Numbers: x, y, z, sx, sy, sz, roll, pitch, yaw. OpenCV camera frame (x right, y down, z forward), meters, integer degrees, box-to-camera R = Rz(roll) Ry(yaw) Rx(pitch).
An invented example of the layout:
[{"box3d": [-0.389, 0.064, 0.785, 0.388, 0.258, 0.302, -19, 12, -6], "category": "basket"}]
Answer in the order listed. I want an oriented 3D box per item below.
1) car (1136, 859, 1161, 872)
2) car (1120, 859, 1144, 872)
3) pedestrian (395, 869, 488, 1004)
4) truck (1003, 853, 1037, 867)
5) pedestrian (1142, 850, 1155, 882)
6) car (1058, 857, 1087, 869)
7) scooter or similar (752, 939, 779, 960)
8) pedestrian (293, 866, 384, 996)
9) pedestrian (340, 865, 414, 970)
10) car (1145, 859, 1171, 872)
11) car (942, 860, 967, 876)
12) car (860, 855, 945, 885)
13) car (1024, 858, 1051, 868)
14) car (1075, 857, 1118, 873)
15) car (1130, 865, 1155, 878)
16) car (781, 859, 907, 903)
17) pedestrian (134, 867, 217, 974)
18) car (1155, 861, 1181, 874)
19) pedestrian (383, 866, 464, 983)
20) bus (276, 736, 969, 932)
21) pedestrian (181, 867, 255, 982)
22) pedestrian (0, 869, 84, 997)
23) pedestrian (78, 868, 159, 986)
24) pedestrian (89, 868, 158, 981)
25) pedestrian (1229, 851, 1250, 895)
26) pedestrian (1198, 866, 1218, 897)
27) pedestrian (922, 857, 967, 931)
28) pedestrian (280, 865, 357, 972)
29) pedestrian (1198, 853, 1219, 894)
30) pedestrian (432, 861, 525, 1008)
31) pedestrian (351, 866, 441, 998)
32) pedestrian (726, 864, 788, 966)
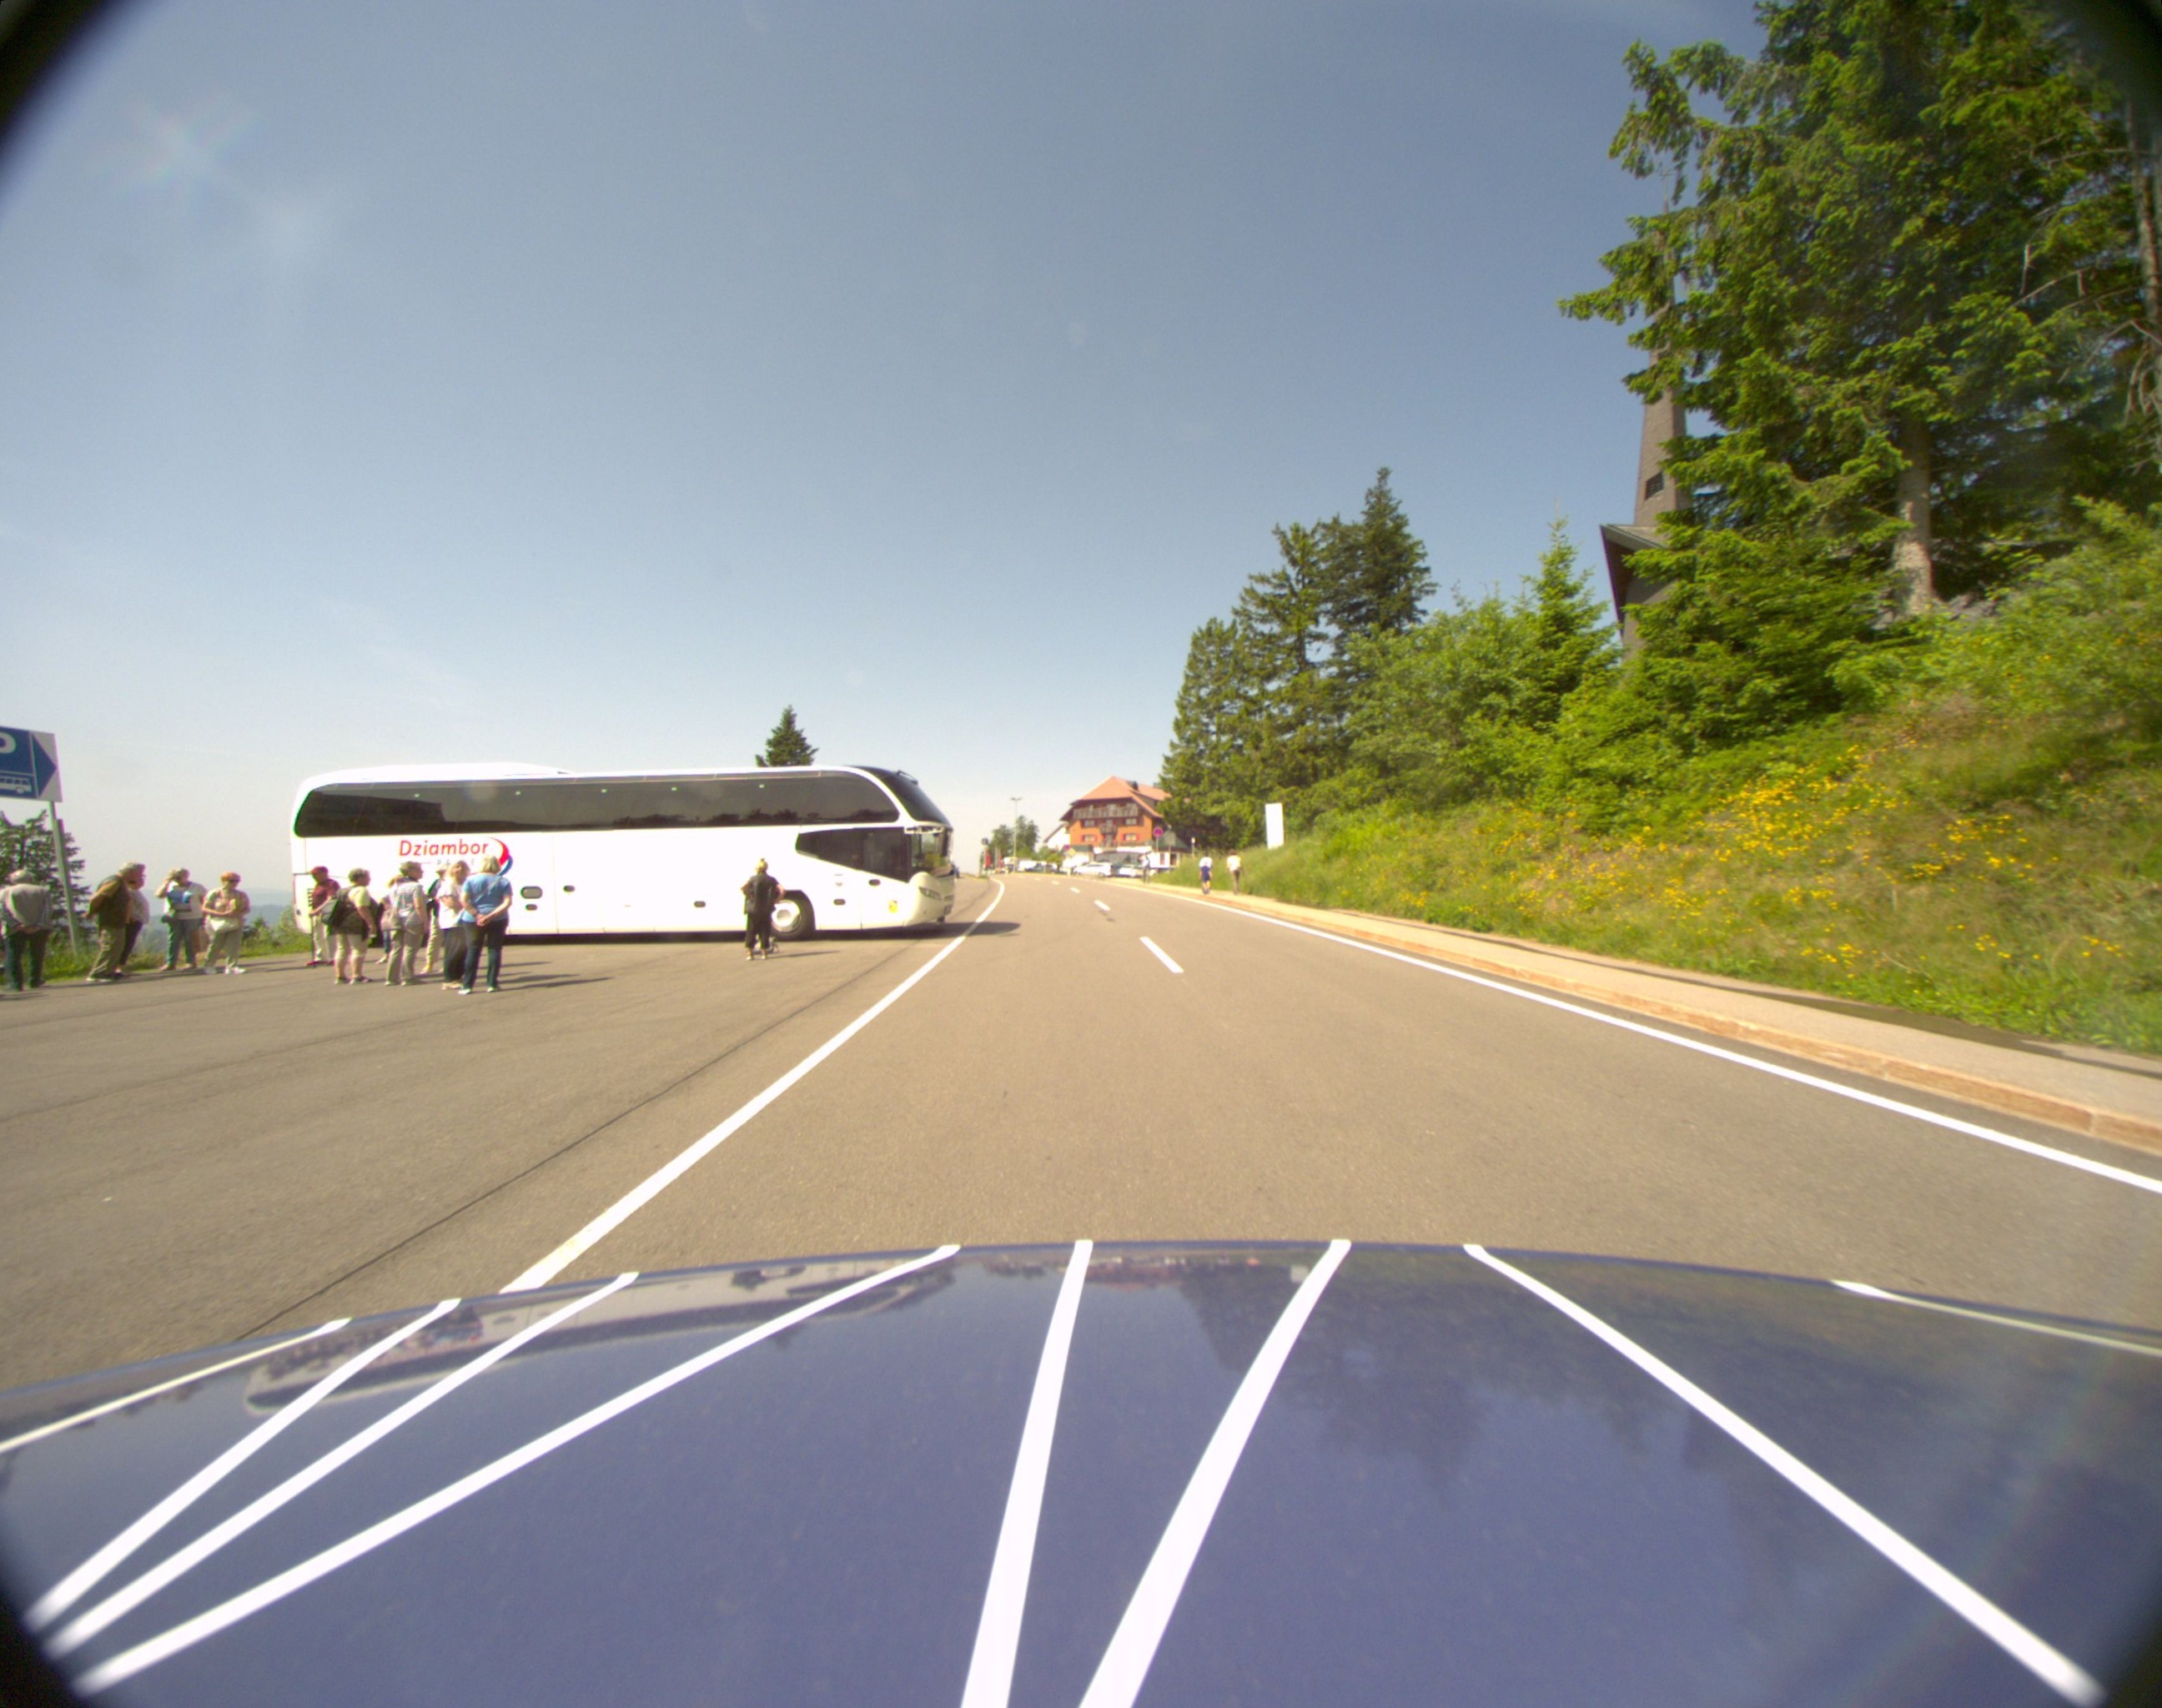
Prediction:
[{"box3d": [7.810, 1.355, 87.963, 1.636, 1.425, 3.323, 0, -1, 29], "category": "car"}, {"box3d": [6.338, 1.414, 94.325, 1.710, 1.543, 3.141, 0, 0, 31], "category": "car"}, {"box3d": [-8.251, 1.038, 9.815, 0.630, 1.642, 0.629, -1, 2, 26], "category": "pedestrian"}, {"box3d": [-12.273, 1.218, 153.945, 2.863, 2.813, 8.776, 0, 0, 24], "category": "truck"}, {"box3d": [3.722, 0.652, 41.864, 0.581, 1.731, 0.686, 0, 0, -12], "category": "pedestrian"}, {"box3d": [-1.122, 1.169, 99.588, 3.325, 1.583, 1.720, 0, 0, 35], "category": "car"}, {"box3d": [-5.326, 1.618, 12.831, 0.285, 0.309, 0.327, -1, 0, 10], "category": "scooter or similar"}, {"box3d": [-10.084, 1.014, 10.335, 0.631, 1.687, 0.629, -1, 1, 15], "category": "pedestrian"}, {"box3d": [-11.648, 1.026, 12.585, 0.631, 1.687, 0.629, -1, 1, 15], "category": "pedestrian"}, {"box3d": [8.595, 1.289, 85.046, 1.714, 1.425, 3.322, 0, 0, 29], "category": "car"}, {"box3d": [-12.248, 1.326, 73.507, 2.001, 1.537, 3.995, -1, 0, -14], "category": "car"}, {"box3d": [-11.576, 1.035, 49.571, 5.117, 1.610, 1.999, -4, 0, -8], "category": "car"}, {"box3d": [-8.387, 1.697, 147.623, 5.253, 1.894, 1.999, 0, 0, -4], "category": "car"}, {"box3d": [1.555, 1.113, 75.912, 3.953, 1.578, 1.793, 0, 0, 28], "category": "car"}, {"box3d": [7.405, 2.105, 91.420, 1.727, 1.456, 3.527, 0, 0, 28], "category": "car"}, {"box3d": [-8.648, 0.975, 27.949, 3.997, 1.411, 1.766, -2, 0, 0], "category": "car"}, {"box3d": [-14.718, 1.058, 12.362, 0.631, 1.687, 0.629, -1, 1, 15], "category": "pedestrian"}, {"box3d": [9.468, 1.438, 82.504, 1.708, 1.387, 3.323, 0, -1, 29], "category": "car"}, {"box3d": [-9.767, 1.021, 11.299, 0.631, 1.669, 0.629, -1, 1, 15], "category": "pedestrian"}, {"box3d": [-9.022, -0.342, 15.816, 12.876, 3.556, 2.839, -1, 0, 3], "category": "bus"}, {"box3d": [-13.201, 1.044, 11.647, 0.633, 1.687, 0.626, -1, 1, -40], "category": "pedestrian"}, {"box3d": [-14.463, 1.059, 10.487, 0.631, 1.687, 0.629, -1, 1, 15], "category": "pedestrian"}, {"box3d": [-14.219, 1.055, 11.234, 0.631, 1.687, 0.509, -1, 1, 15], "category": "pedestrian"}, {"box3d": [-14.717, 1.059, 11.686, 0.467, 1.687, 0.485, -1, 1, 15], "category": "pedestrian"}, {"box3d": [5.949, 0.717, 28.492, 0.577, 1.633, 0.894, 0, 0, -2], "category": "pedestrian"}, {"box3d": [4.546, 0.974, 27.269, 0.570, 1.095, 0.744, 0, 0, -2], "category": "pedestrian"}, {"box3d": [-3.091, 0.897, 17.245, 0.743, 1.633, 0.710, 0, 1, 17], "category": "pedestrian"}, {"box3d": [-12.458, 1.035, 12.429, 0.631, 1.687, 0.629, -1, 1, 15], "category": "pedestrian"}, {"box3d": [4.791, 0.714, 28.522, 0.582, 1.528, 0.879, 0, 0, -5], "category": "pedestrian"}, {"box3d": [-7.480, 0.969, 9.448, 0.631, 1.747, 0.629, -1, 1, 15], "category": "pedestrian"}, {"box3d": [-9.161, 1.015, 10.176, 0.631, 1.688, 0.629, -1, 1, 15], "category": "pedestrian"}, {"box3d": [-5.146, 0.946, 12.091, 0.631, 1.558, 0.629, -1, 1, 15], "category": "pedestrian"}]
